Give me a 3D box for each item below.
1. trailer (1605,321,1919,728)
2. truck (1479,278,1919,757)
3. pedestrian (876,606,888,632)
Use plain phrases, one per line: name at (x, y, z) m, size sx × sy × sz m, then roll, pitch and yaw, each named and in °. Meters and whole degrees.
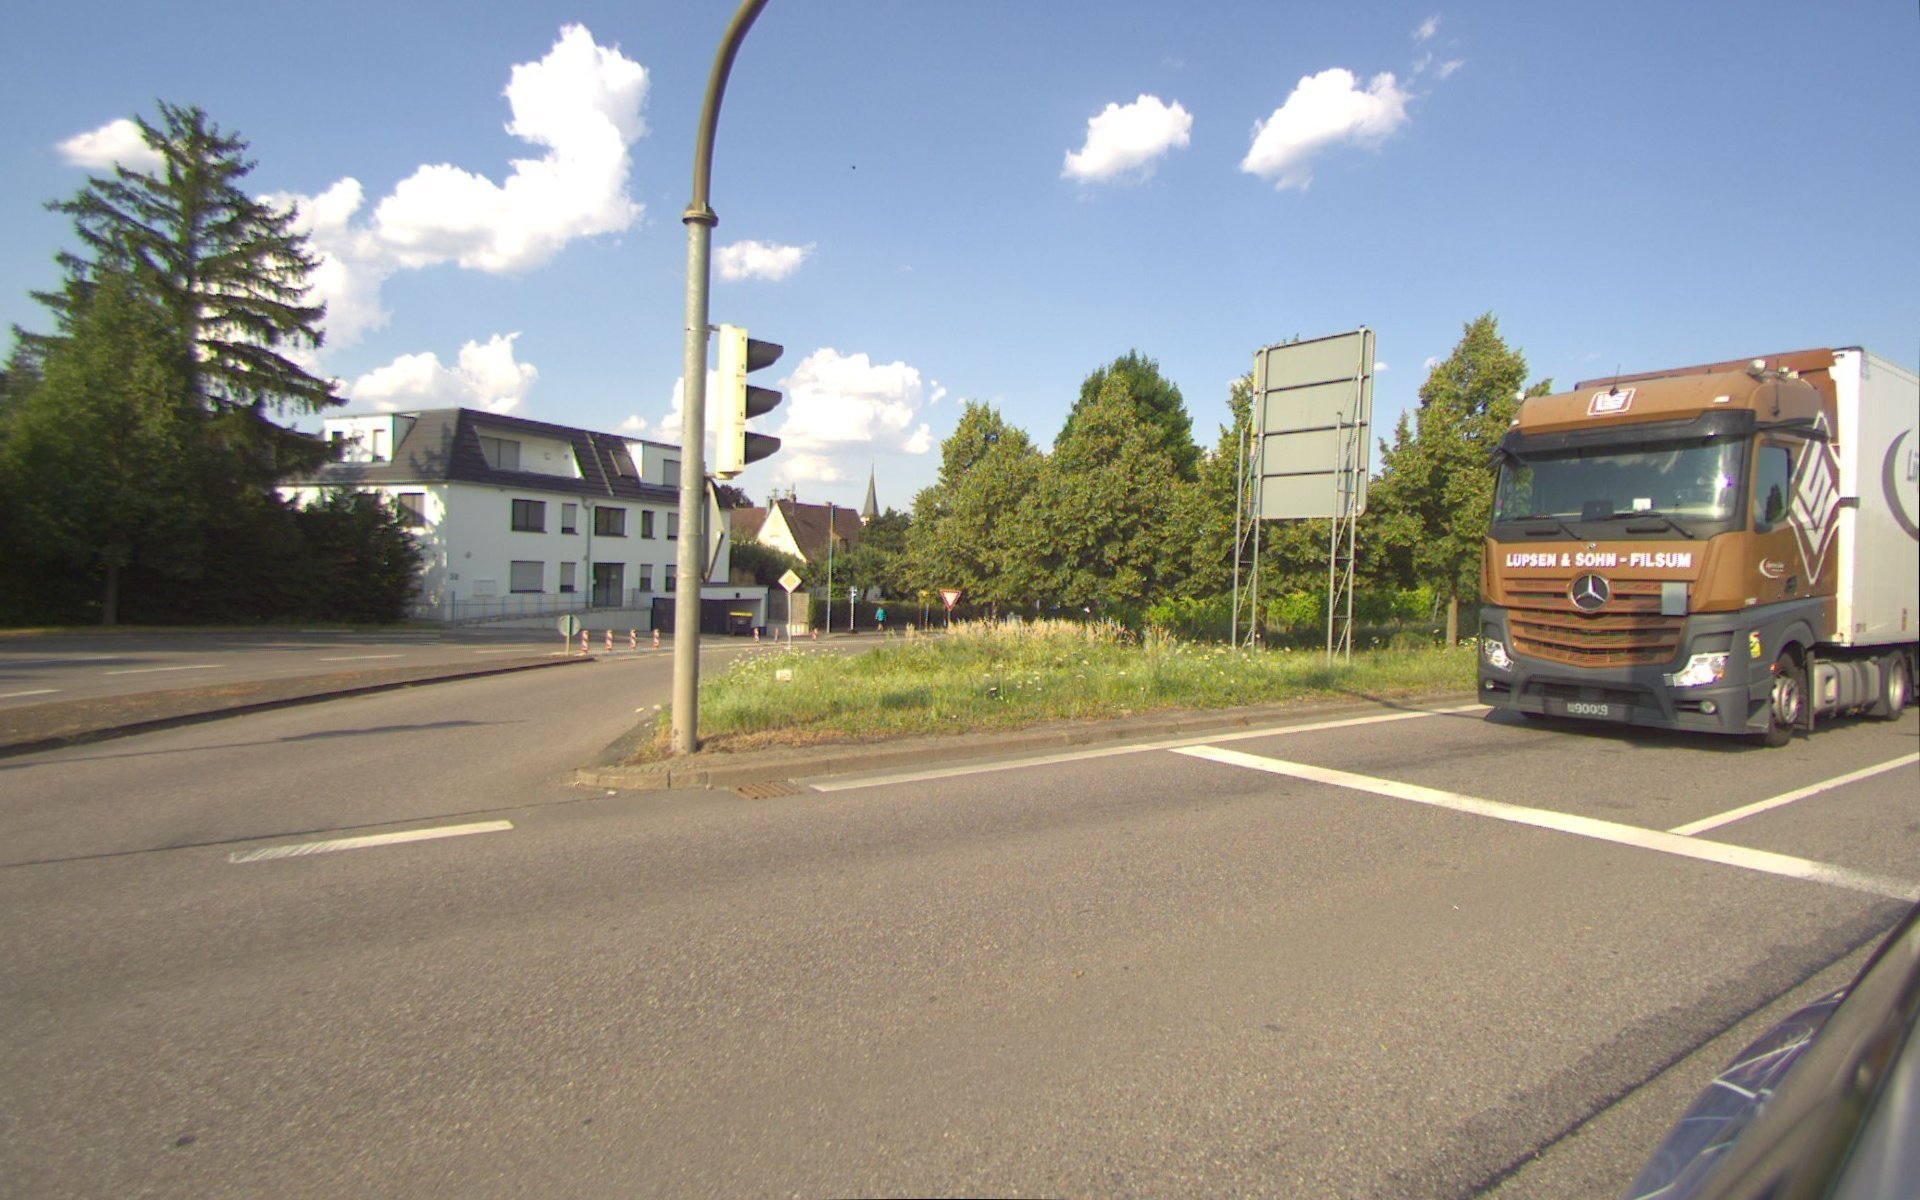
trailer at (14.375, -0.801, 15.270) m, size 14.061 × 4.118 × 2.540 m, roll 0°, pitch 0°, yaw -34°
truck at (8.951, -0.757, 11.552) m, size 6.534 × 4.094 × 2.541 m, roll -1°, pitch 0°, yaw -34°
pedestrian at (-5.354, 1.303, 69.580) m, size 0.611 × 1.750 × 0.634 m, roll 0°, pitch 0°, yaw 26°
